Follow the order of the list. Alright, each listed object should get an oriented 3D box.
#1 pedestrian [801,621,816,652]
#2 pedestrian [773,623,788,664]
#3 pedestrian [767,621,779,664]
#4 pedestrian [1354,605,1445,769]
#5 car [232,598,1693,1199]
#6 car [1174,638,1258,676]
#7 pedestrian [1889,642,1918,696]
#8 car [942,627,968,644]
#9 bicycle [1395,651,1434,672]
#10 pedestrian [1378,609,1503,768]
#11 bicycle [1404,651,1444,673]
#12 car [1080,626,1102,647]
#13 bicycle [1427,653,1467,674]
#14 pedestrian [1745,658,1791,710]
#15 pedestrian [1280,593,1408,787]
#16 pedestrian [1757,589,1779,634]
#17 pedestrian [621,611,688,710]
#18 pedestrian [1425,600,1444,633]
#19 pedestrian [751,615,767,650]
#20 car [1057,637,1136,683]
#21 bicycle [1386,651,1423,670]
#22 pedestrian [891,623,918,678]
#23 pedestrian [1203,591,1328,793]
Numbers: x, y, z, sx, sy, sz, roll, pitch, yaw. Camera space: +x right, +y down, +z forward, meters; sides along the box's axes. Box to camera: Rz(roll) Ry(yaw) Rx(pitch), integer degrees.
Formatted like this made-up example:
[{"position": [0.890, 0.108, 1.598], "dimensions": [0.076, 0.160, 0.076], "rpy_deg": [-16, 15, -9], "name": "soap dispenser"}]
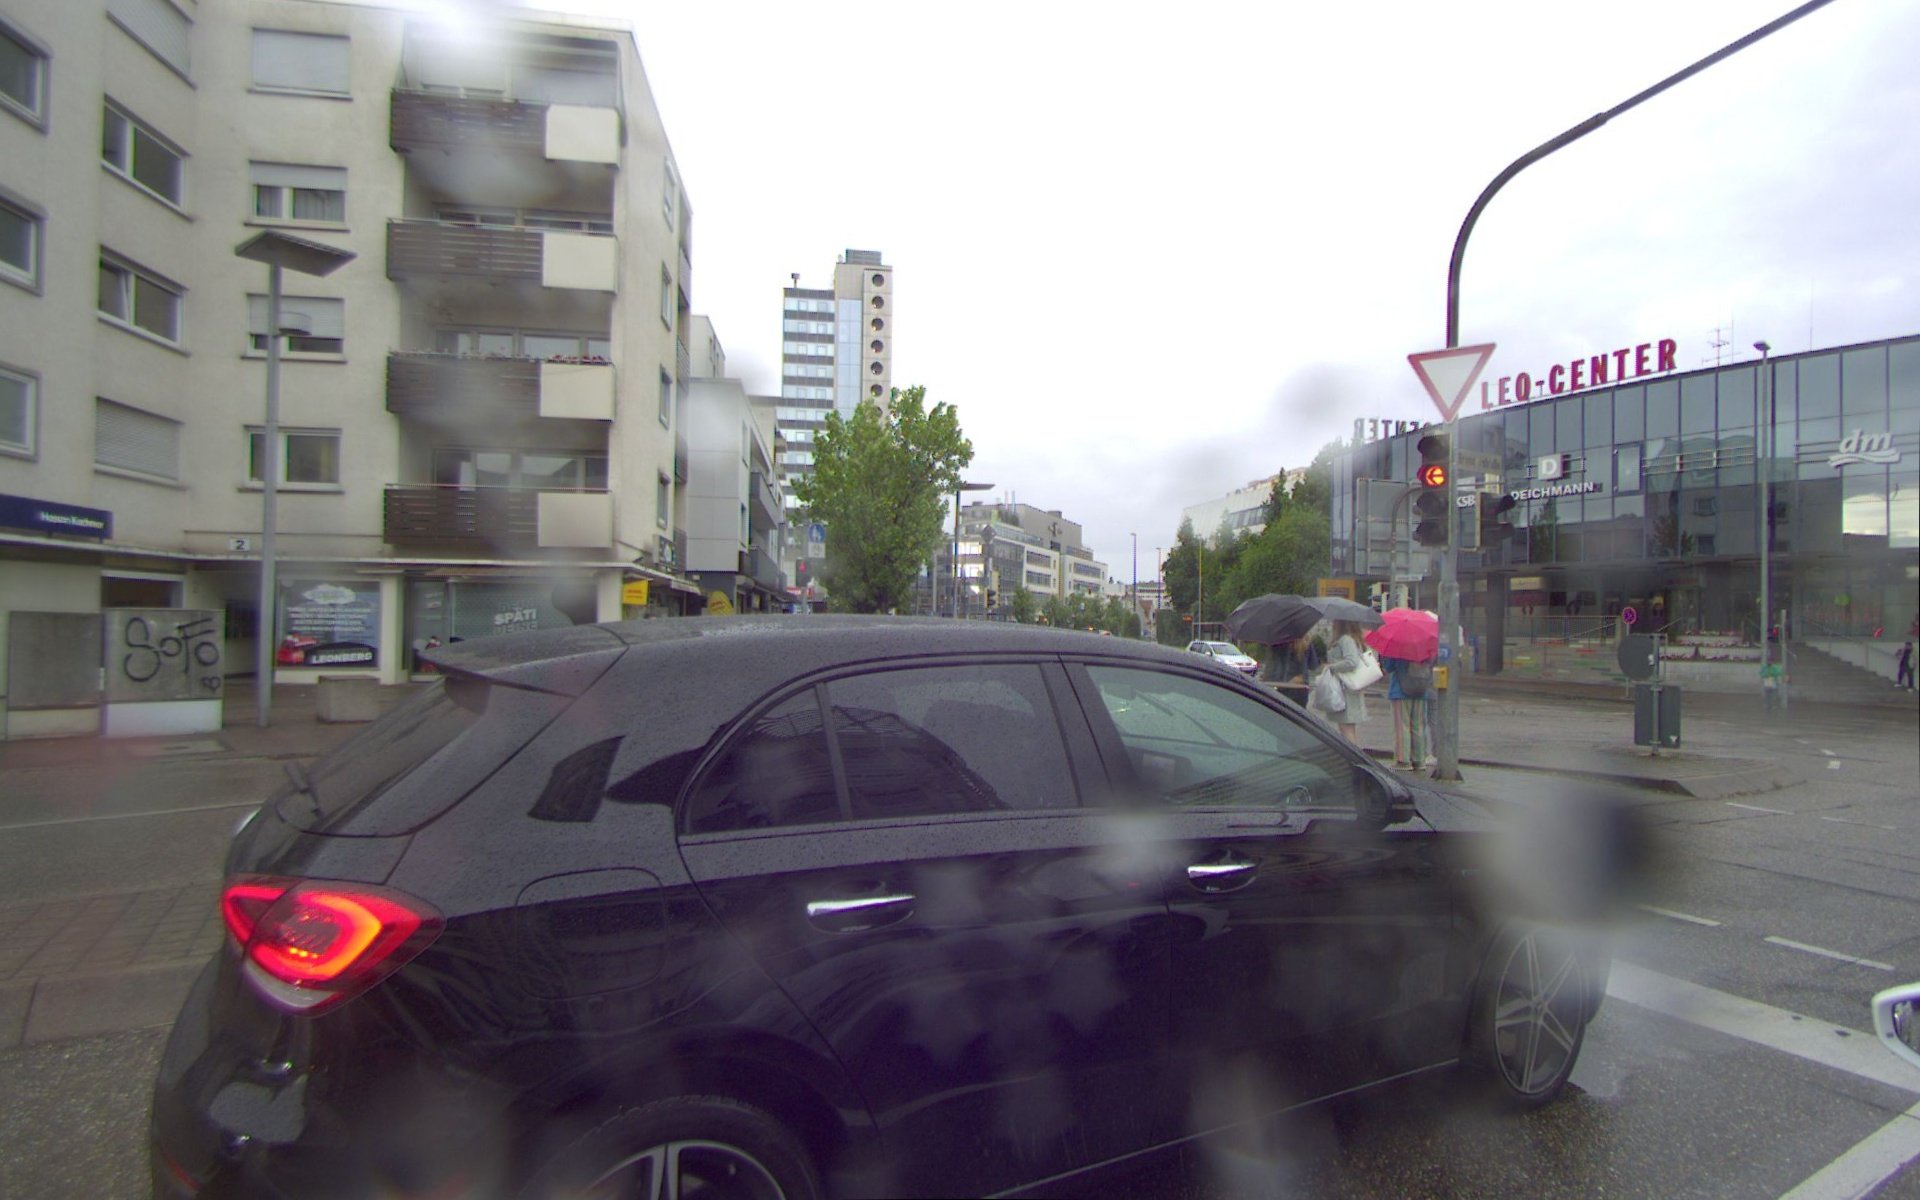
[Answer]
[{"position": [-9.134, 2.199, 60.553], "dimensions": [0.859, 1.835, 0.923], "rpy_deg": [1, -1, -10], "name": "pedestrian"}, {"position": [-8.052, 1.956, 45.058], "dimensions": [0.557, 1.817, 0.491], "rpy_deg": [1, -2, -5], "name": "pedestrian"}, {"position": [-7.634, 1.725, 40.956], "dimensions": [0.441, 1.746, 0.499], "rpy_deg": [1, -2, -12], "name": "pedestrian"}, {"position": [4.763, 0.922, 10.921], "dimensions": [0.790, 1.707, 0.674], "rpy_deg": [1, -2, 14], "name": "pedestrian"}, {"position": [0.354, 0.784, 3.078], "dimensions": [4.048, 1.501, 1.654], "rpy_deg": [1, 1, -32], "name": "car"}, {"position": [10.817, 2.378, 42.706], "dimensions": [1.717, 1.460, 3.980], "rpy_deg": [2, -1, -15], "name": "car"}, {"position": [34.412, 2.508, 36.641], "dimensions": [0.589, 1.933, 0.651], "rpy_deg": [2, -1, -37], "name": "pedestrian"}, {"position": [-0.440, 2.970, 83.847], "dimensions": [1.414, 1.314, 3.770], "rpy_deg": [2, -1, -11], "name": "car"}, {"position": [23.938, 3.228, 52.893], "dimensions": [1.822, 1.047, 0.628], "rpy_deg": [-1, -1, -12], "name": "bicycle"}, {"position": [5.433, 0.965, 11.375], "dimensions": [0.906, 1.699, 0.931], "rpy_deg": [2, -2, -30], "name": "pedestrian"}, {"position": [24.091, 3.223, 52.150], "dimensions": [1.822, 1.056, 0.646], "rpy_deg": [-1, -1, -12], "name": "bicycle"}, {"position": [12.493, 3.466, 96.132], "dimensions": [2.008, 1.921, 4.141], "rpy_deg": [1, -1, 6], "name": "car"}, {"position": [24.491, 3.186, 50.526], "dimensions": [1.822, 1.036, 0.631], "rpy_deg": [0, -2, -12], "name": "bicycle"}, {"position": [26.715, 2.766, 33.208], "dimensions": [0.799, 1.644, 0.945], "rpy_deg": [2, -2, -29], "name": "pedestrian"}, {"position": [3.727, 0.842, 9.838], "dimensions": [0.843, 1.767, 1.139], "rpy_deg": [1, -2, 3], "name": "pedestrian"}, {"position": [33.395, 0.466, 41.530], "dimensions": [0.625, 1.831, 0.501], "rpy_deg": [2, 0, 43], "name": "pedestrian"}, {"position": [-5.160, 1.010, 16.951], "dimensions": [0.904, 1.606, 0.651], "rpy_deg": [2, -2, -33], "name": "pedestrian"}, {"position": [25.437, 0.855, 53.826], "dimensions": [0.642, 1.736, 0.599], "rpy_deg": [2, 0, -6], "name": "pedestrian"}, {"position": [-11.971, 1.933, 59.948], "dimensions": [0.859, 2.040, 0.923], "rpy_deg": [1, -1, -10], "name": "pedestrian"}, {"position": [4.750, 2.082, 35.692], "dimensions": [2.082, 1.432, 5.147], "rpy_deg": [2, -2, 0], "name": "car"}, {"position": [23.708, 3.219, 53.558], "dimensions": [1.821, 0.964, 0.535], "rpy_deg": [-1, 0, -8], "name": "bicycle"}, {"position": [-1.735, 1.583, 31.360], "dimensions": [0.799, 1.677, 0.714], "rpy_deg": [1, -2, -3], "name": "pedestrian"}, {"position": [2.859, 0.822, 9.357], "dimensions": [0.937, 1.759, 0.835], "rpy_deg": [0, -2, 30], "name": "pedestrian"}]
